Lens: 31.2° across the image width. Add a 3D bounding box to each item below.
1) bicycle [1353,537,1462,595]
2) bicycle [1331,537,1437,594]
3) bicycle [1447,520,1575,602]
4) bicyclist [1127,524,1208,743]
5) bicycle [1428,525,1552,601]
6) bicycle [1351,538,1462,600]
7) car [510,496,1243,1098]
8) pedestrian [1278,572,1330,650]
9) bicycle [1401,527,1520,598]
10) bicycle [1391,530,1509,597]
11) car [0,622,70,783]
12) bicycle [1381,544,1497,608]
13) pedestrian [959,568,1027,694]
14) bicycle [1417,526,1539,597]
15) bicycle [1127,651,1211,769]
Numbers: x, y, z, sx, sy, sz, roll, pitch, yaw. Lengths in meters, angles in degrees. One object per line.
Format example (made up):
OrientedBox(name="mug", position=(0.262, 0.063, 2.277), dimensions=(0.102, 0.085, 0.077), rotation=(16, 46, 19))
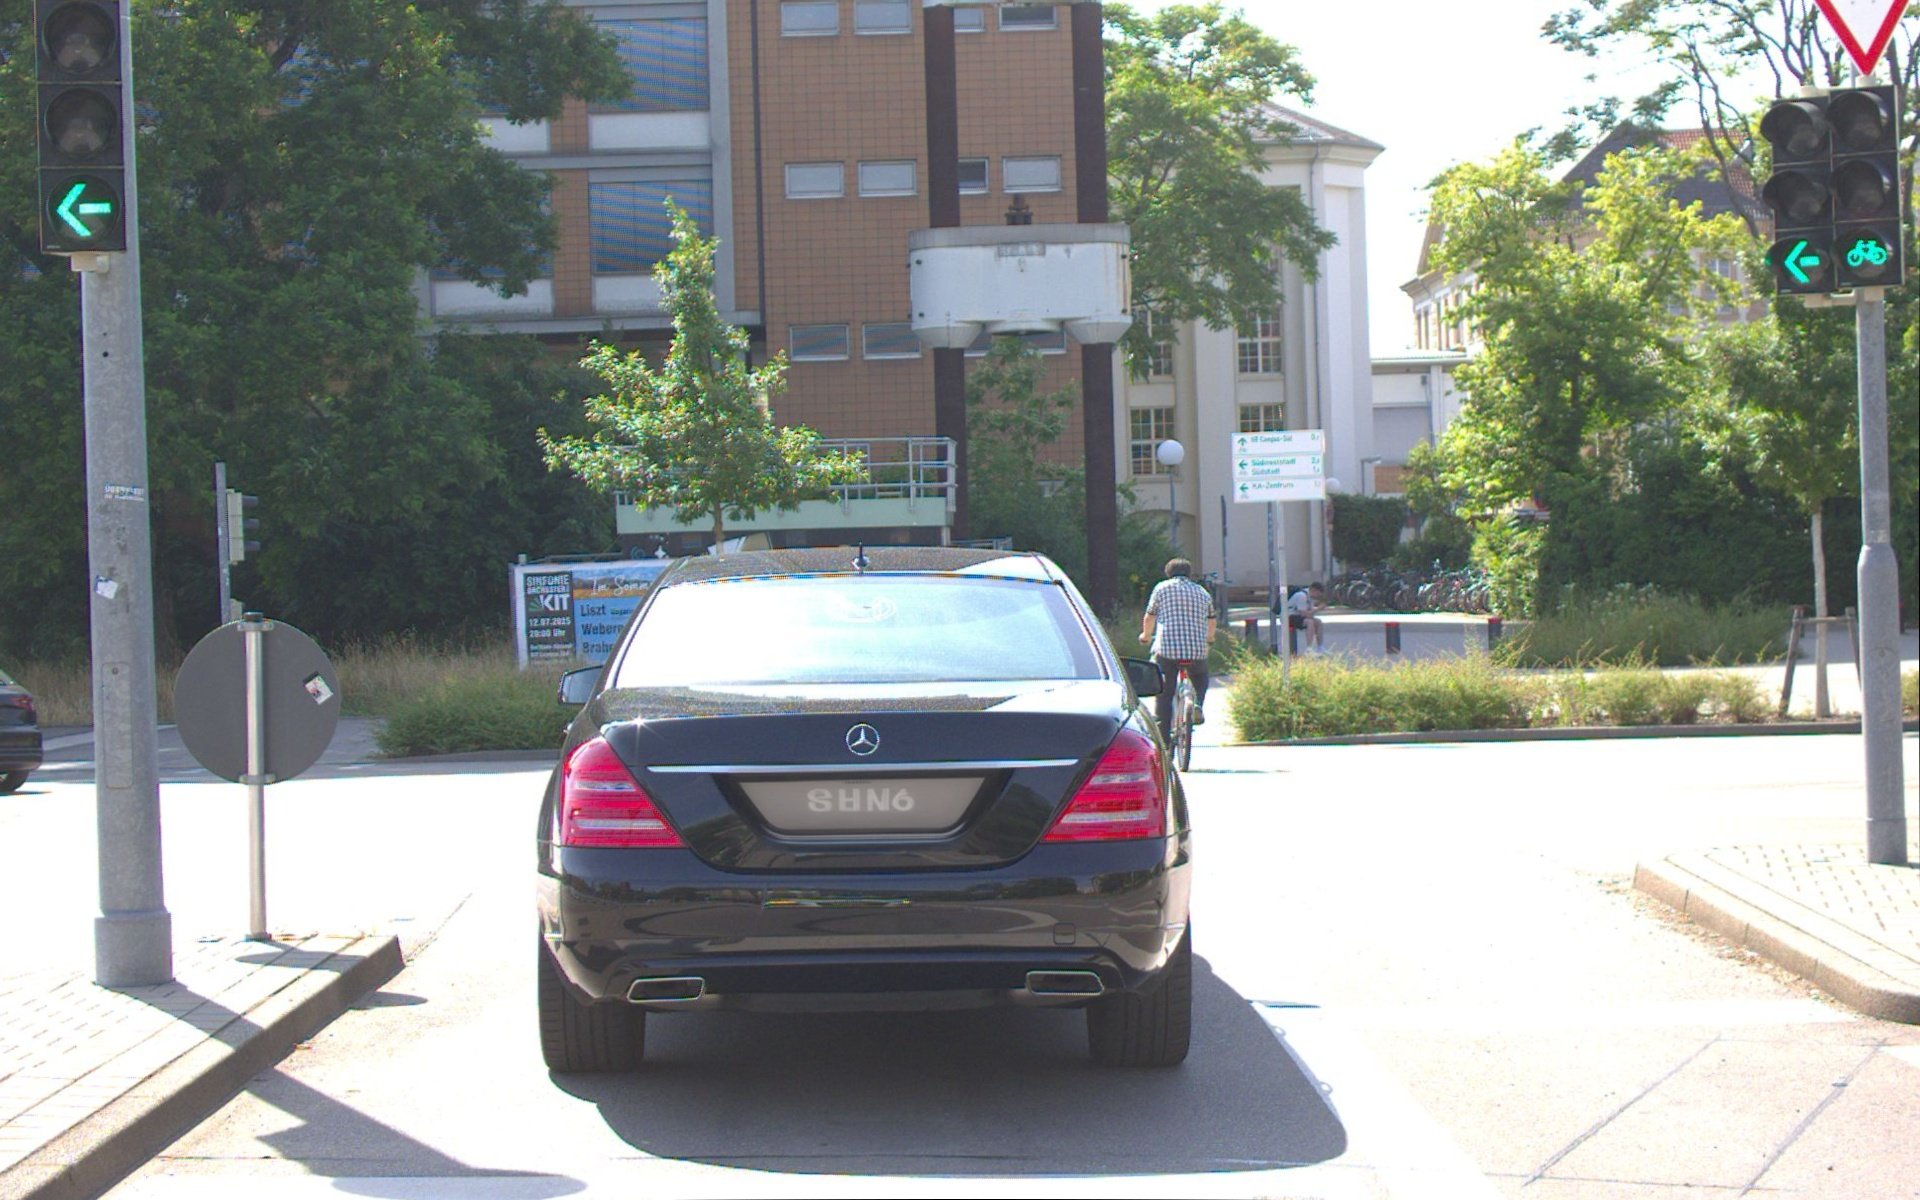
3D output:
OrientedBox(name="bicycle", position=(12.303, -0.936, 94.610), dimensions=(2.823, 1.495, 0.842), rotation=(-2, 1, -1))
OrientedBox(name="bicycle", position=(11.904, -0.971, 96.504), dimensions=(2.823, 1.475, 0.842), rotation=(-2, 1, -1))
OrientedBox(name="bicycle", position=(13.072, -0.919, 81.587), dimensions=(2.823, 1.830, 0.842), rotation=(-2, 1, -1))
OrientedBox(name="bicyclist", position=(1.803, 0.284, 29.952), dimensions=(0.686, 1.872, 0.859), rotation=(0, 0, 3))
OrientedBox(name="bicycle", position=(12.913, -0.912, 83.847), dimensions=(2.823, 1.738, 0.842), rotation=(-2, 1, -1))
OrientedBox(name="bicycle", position=(11.991, -0.844, 92.424), dimensions=(2.823, 1.553, 0.842), rotation=(-2, 1, -1))
OrientedBox(name="car", position=(-0.338, 0.484, 11.101), dimensions=(1.858, 1.525, 4.714), rotation=(0, 0, -3))
OrientedBox(name="pedestrian", position=(5.399, 0.172, 53.938), dimensions=(0.793, 1.209, 0.757), rotation=(1, 0, 6))
OrientedBox(name="bicycle", position=(12.573, -0.948, 86.378), dimensions=(2.823, 1.653, 0.842), rotation=(-2, 2, -1))
OrientedBox(name="bicycle", position=(12.448, -0.936, 87.372), dimensions=(2.823, 1.581, 0.842), rotation=(-2, 1, -1))
OrientedBox(name="car", position=(-10.796, 1.024, 33.110), dimensions=(3.991, 1.505, 1.798), rotation=(-2, -1, 22))
OrientedBox(name="bicycle", position=(12.317, -0.611, 88.456), dimensions=(2.823, 1.532, 0.842), rotation=(-2, 1, -1))
OrientedBox(name="pedestrian", position=(0.425, 0.387, 43.810), dimensions=(0.811, 1.574, 0.692), rotation=(-2, 0, 1))
OrientedBox(name="bicycle", position=(12.785, -0.945, 84.935), dimensions=(2.823, 1.643, 0.842), rotation=(-2, 1, -1))
OrientedBox(name="bicycle", position=(1.803, 0.938, 29.866), dimensions=(0.692, 0.943, 1.958), rotation=(1, 0, 3))
